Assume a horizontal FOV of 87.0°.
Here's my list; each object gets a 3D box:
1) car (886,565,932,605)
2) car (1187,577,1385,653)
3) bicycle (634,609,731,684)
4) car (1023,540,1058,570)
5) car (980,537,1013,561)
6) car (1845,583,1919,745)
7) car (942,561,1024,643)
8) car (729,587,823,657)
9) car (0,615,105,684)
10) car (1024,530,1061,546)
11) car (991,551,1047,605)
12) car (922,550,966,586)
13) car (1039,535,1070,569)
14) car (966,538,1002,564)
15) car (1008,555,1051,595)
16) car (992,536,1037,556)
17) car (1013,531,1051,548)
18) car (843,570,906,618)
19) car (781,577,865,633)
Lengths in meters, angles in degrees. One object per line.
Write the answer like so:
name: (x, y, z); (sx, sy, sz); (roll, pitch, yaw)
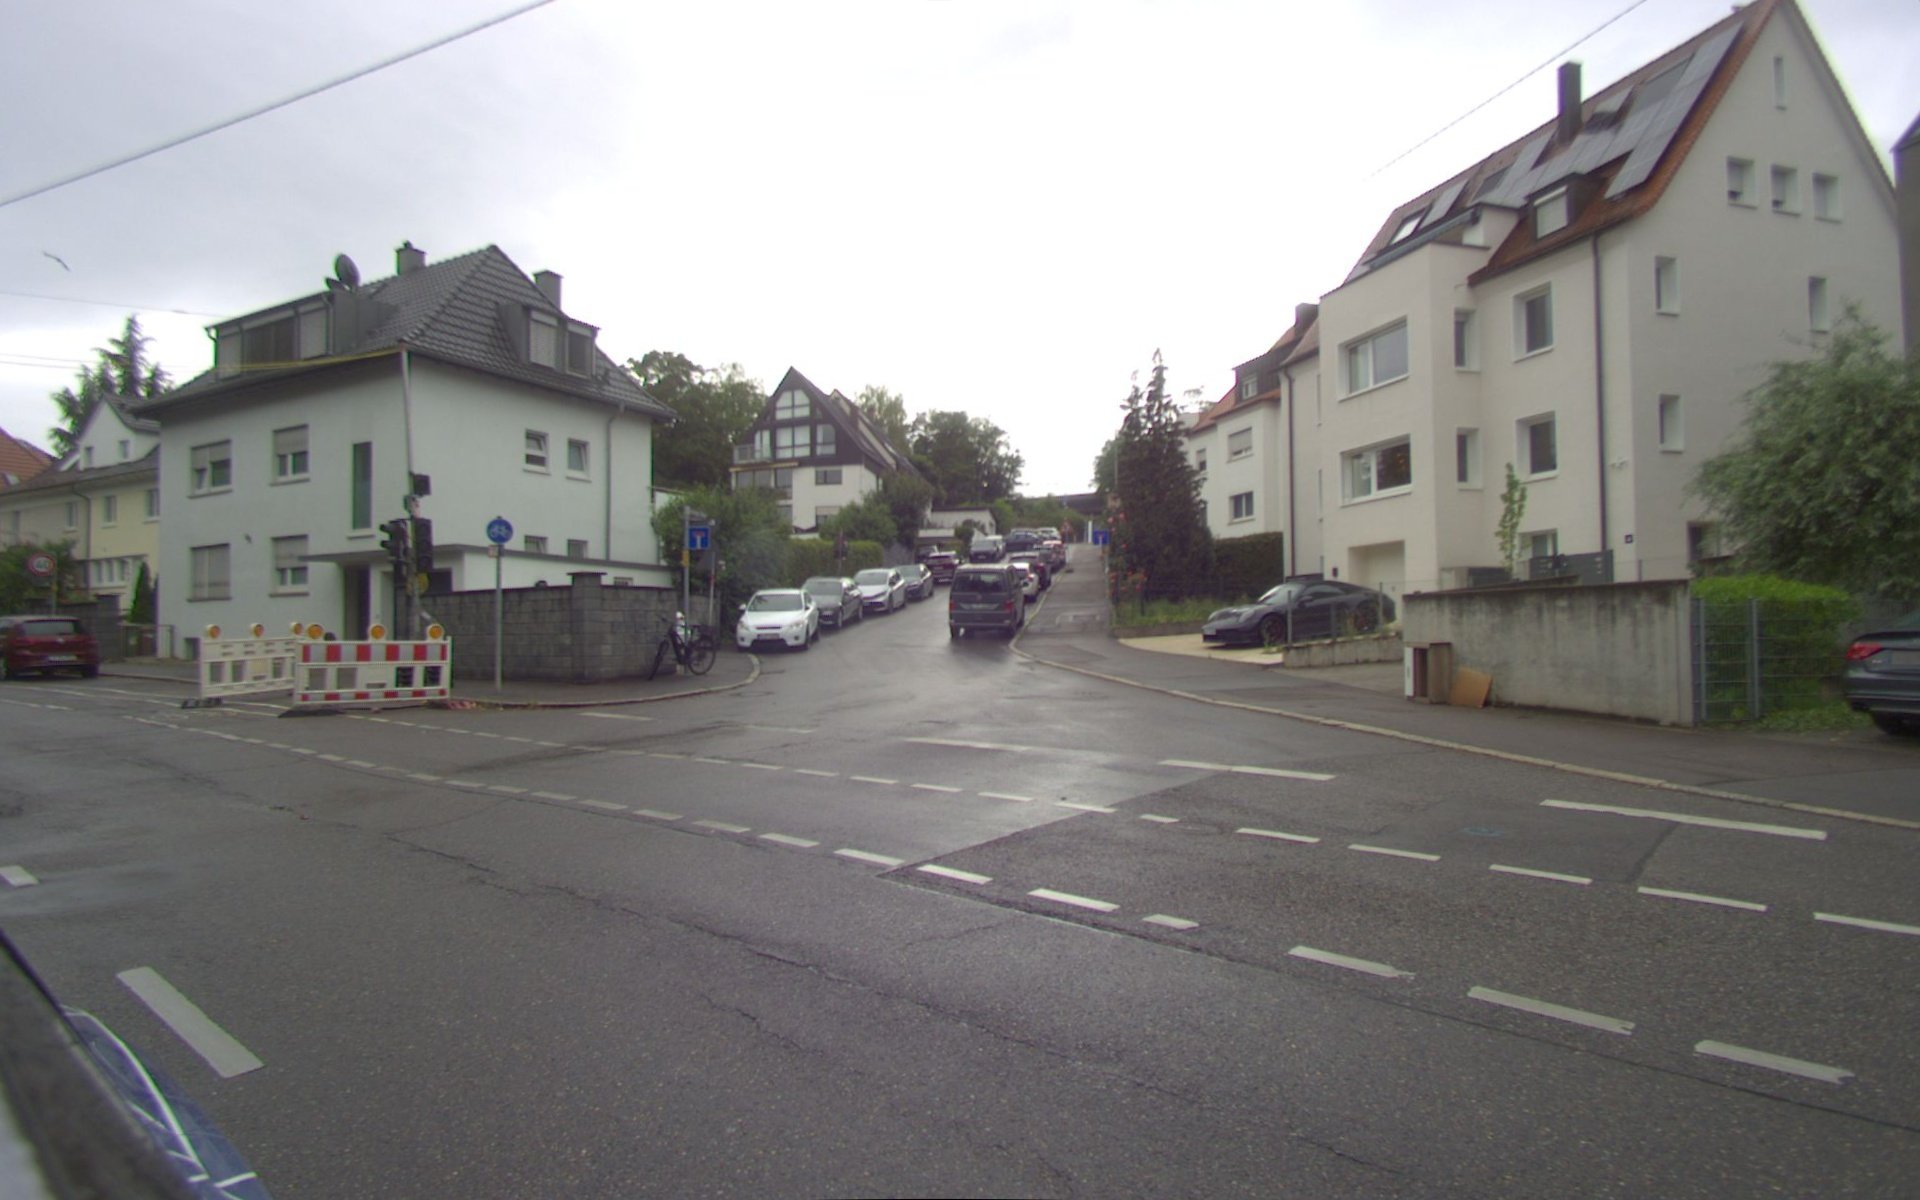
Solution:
car: (-2.120, -0.668, 42.972); (1.320, 1.400, 3.498); (-1, 5, 7)
car: (7.141, 0.297, 22.244); (3.857, 1.342, 1.572); (-4, 1, -16)
bicycle: (-5.166, 0.834, 18.929); (0.705, 1.321, 1.713); (0, 0, 33)
car: (4.673, -2.609, 58.257); (1.677, 1.479, 3.553); (-1, 5, 9)
car: (2.787, -3.873, 76.464); (1.720, 1.510, 3.817); (-1, 6, 13)
car: (10.332, 0.464, 8.874); (4.193, 1.378, 1.617); (-2, -1, -12)
car: (0.743, -0.005, 29.372); (1.893, 1.950, 3.789); (-1, 5, 8)
car: (-4.693, 0.507, 26.212); (1.726, 1.476, 3.561); (-2, 3, 0)
car: (-21.950, 1.174, 23.721); (3.785, 1.505, 1.878); (-3, -3, 33)
car: (8.543, -6.391, 104.170); (3.492, 1.510, 1.614); (0, 6, 18)
car: (2.410, -0.917, 40.283); (1.900, 1.850, 3.406); (-1, 5, 8)
car: (-0.795, -1.682, 52.601); (1.323, 1.566, 3.971); (-1, 6, 13)
car: (5.947, -3.015, 63.212); (1.677, 1.871, 3.553); (-1, 5, 9)
car: (1.680, -3.392, 69.063); (1.720, 1.510, 3.817); (-1, 6, 13)
car: (3.159, -1.152, 45.458); (1.565, 1.479, 3.553); (-1, 5, 9)
car: (4.557, -4.480, 84.158); (3.572, 1.510, 1.578); (-2, 6, 7)
car: (7.035, -5.964, 99.149); (3.489, 1.510, 1.616); (-1, 6, 16)
car: (-3.098, -0.259, 37.348); (1.564, 1.476, 3.848); (-1, 5, 7)
car: (-4.274, 0.117, 32.194); (1.684, 1.476, 3.847); (-2, 3, 7)
